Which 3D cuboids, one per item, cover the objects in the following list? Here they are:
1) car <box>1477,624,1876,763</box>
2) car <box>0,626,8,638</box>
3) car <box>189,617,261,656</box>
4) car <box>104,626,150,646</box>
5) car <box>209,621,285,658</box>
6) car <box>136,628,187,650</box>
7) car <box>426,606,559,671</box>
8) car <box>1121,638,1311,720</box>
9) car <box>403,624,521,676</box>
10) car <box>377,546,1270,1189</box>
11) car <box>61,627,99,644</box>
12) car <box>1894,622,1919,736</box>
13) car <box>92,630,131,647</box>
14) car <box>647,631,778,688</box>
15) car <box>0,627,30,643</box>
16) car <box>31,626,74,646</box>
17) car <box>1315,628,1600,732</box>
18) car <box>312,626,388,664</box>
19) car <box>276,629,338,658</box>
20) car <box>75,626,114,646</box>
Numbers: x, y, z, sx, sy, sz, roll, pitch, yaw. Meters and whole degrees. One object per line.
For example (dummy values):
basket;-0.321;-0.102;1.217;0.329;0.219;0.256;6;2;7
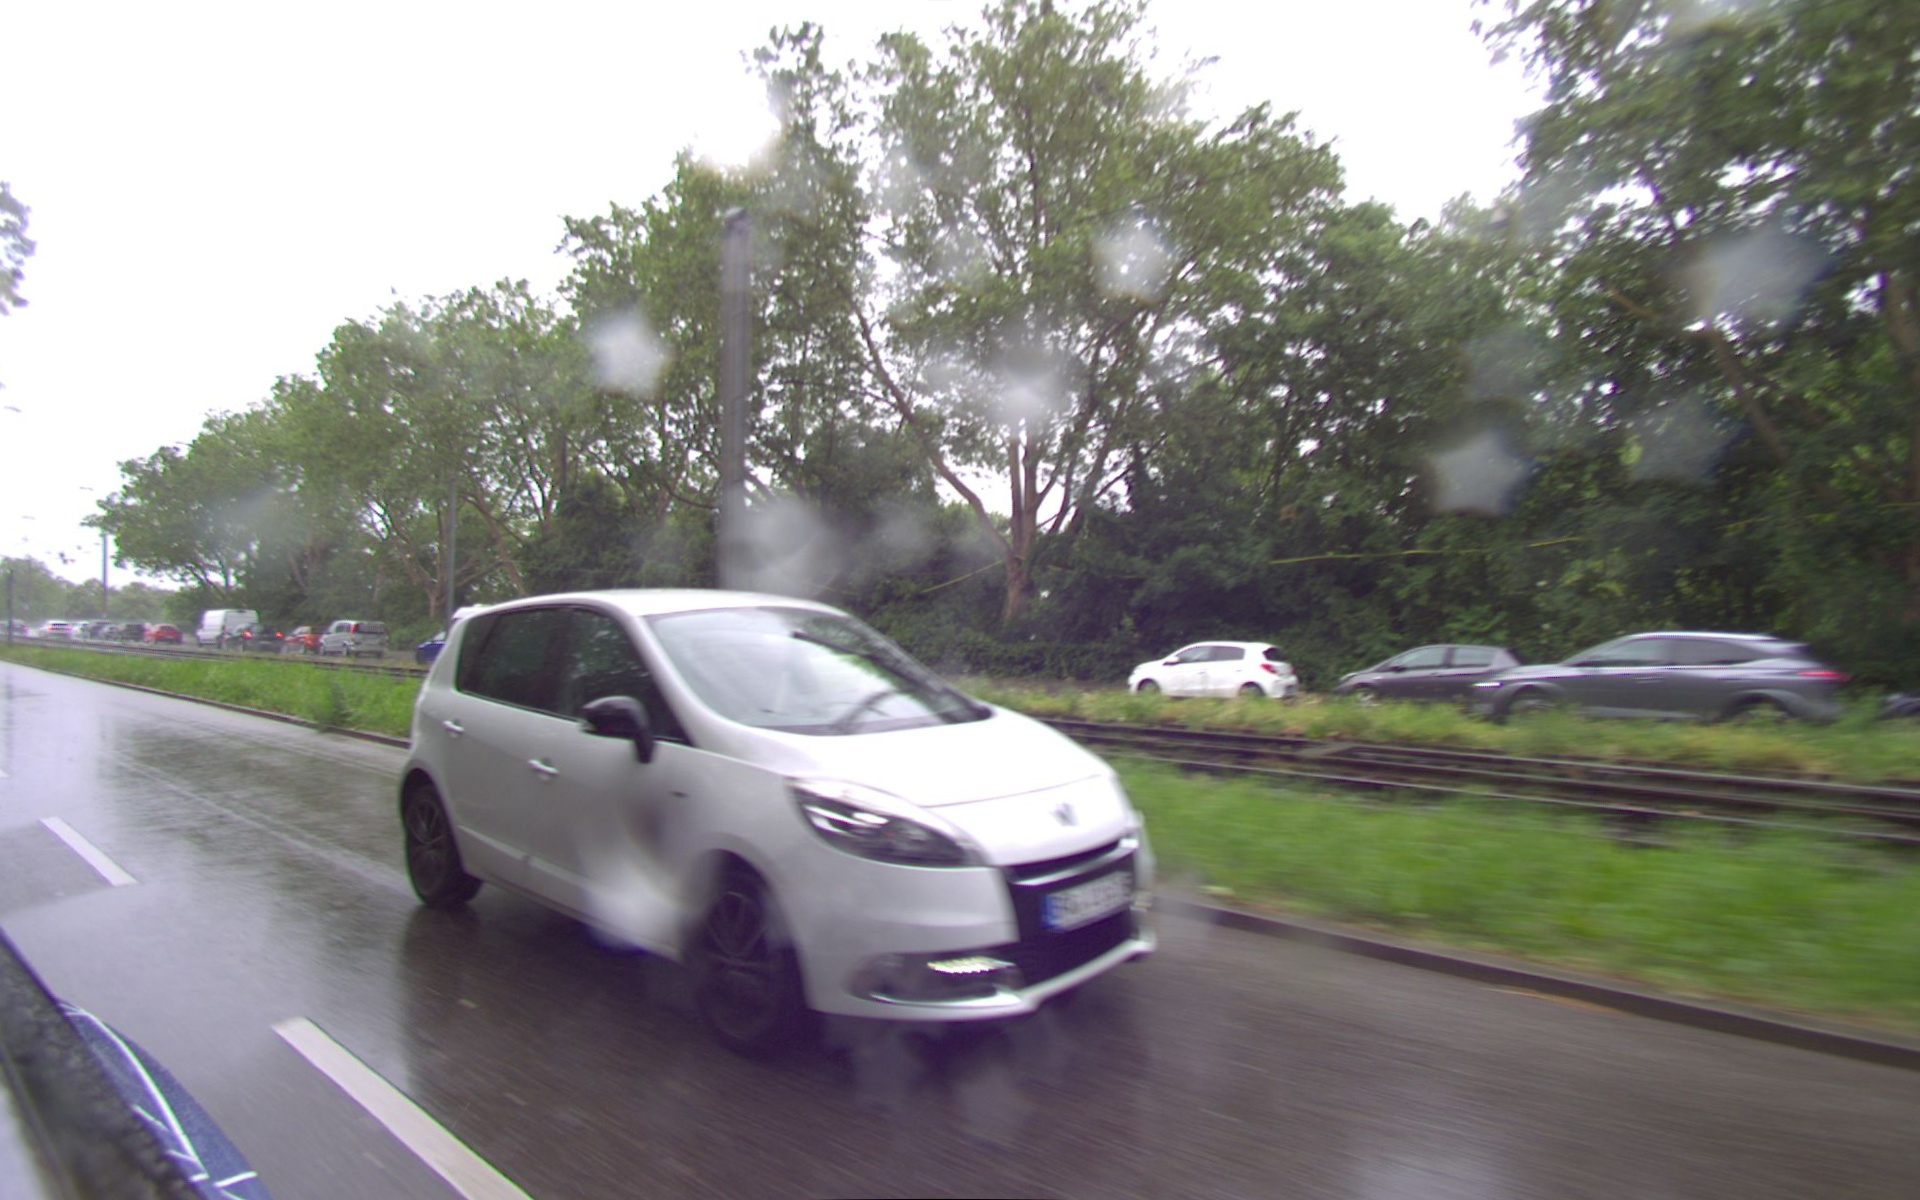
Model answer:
car;10.005;1.218;14.459;4.389;1.670;1.994;-1;-3;38
car;-126.535;4.181;132.565;4.912;1.478;2.013;-1;-2;38
car;-48.475;2.377;66.733;6.133;2.465;2.306;-1;-3;40
car;-68.988;2.994;83.806;4.379;1.564;2.013;-1;-3;38
car;-36.441;2.003;51.697;4.254;1.764;2.012;-1;-3;38
car;-60.426;2.967;76.566;4.379;1.564;2.013;-1;-3;38
car;-19.815;1.609;42.748;6.558;2.560;2.366;-1;-3;38
car;5.758;1.732;22.914;3.808;1.661;1.744;-1;-3;38
car;-18.196;1.806;36.895;4.688;1.764;2.012;-1;-3;38
car;-0.977;0.709;4.720;4.262;1.636;1.844;-1;-1;43
car;-82.827;3.363;95.238;4.574;1.522;1.867;-1;-3;39
car;16.508;1.185;14.347;4.604;1.670;2.012;-1;-3;38
car;-73.026;3.277;87.096;3.962;1.389;1.867;-1;-3;40
car;-8.166;1.909;33.188;4.525;1.741;1.733;-1;-3;38
car;-94.087;3.487;100.405;4.562;1.564;2.012;-2;-3;40
car;-78.233;3.090;87.185;4.763;1.579;1.959;-1;-3;39
car;9.618;1.473;19.767;4.688;1.764;2.012;-1;-3;38
car;-31.768;2.329;52.691;4.636;1.876;1.937;-1;-3;40
car;-36.509;2.429;56.552;4.021;1.564;1.799;-1;-3;40
car;-77.787;3.217;90.966;4.365;1.663;1.867;-1;-3;40
